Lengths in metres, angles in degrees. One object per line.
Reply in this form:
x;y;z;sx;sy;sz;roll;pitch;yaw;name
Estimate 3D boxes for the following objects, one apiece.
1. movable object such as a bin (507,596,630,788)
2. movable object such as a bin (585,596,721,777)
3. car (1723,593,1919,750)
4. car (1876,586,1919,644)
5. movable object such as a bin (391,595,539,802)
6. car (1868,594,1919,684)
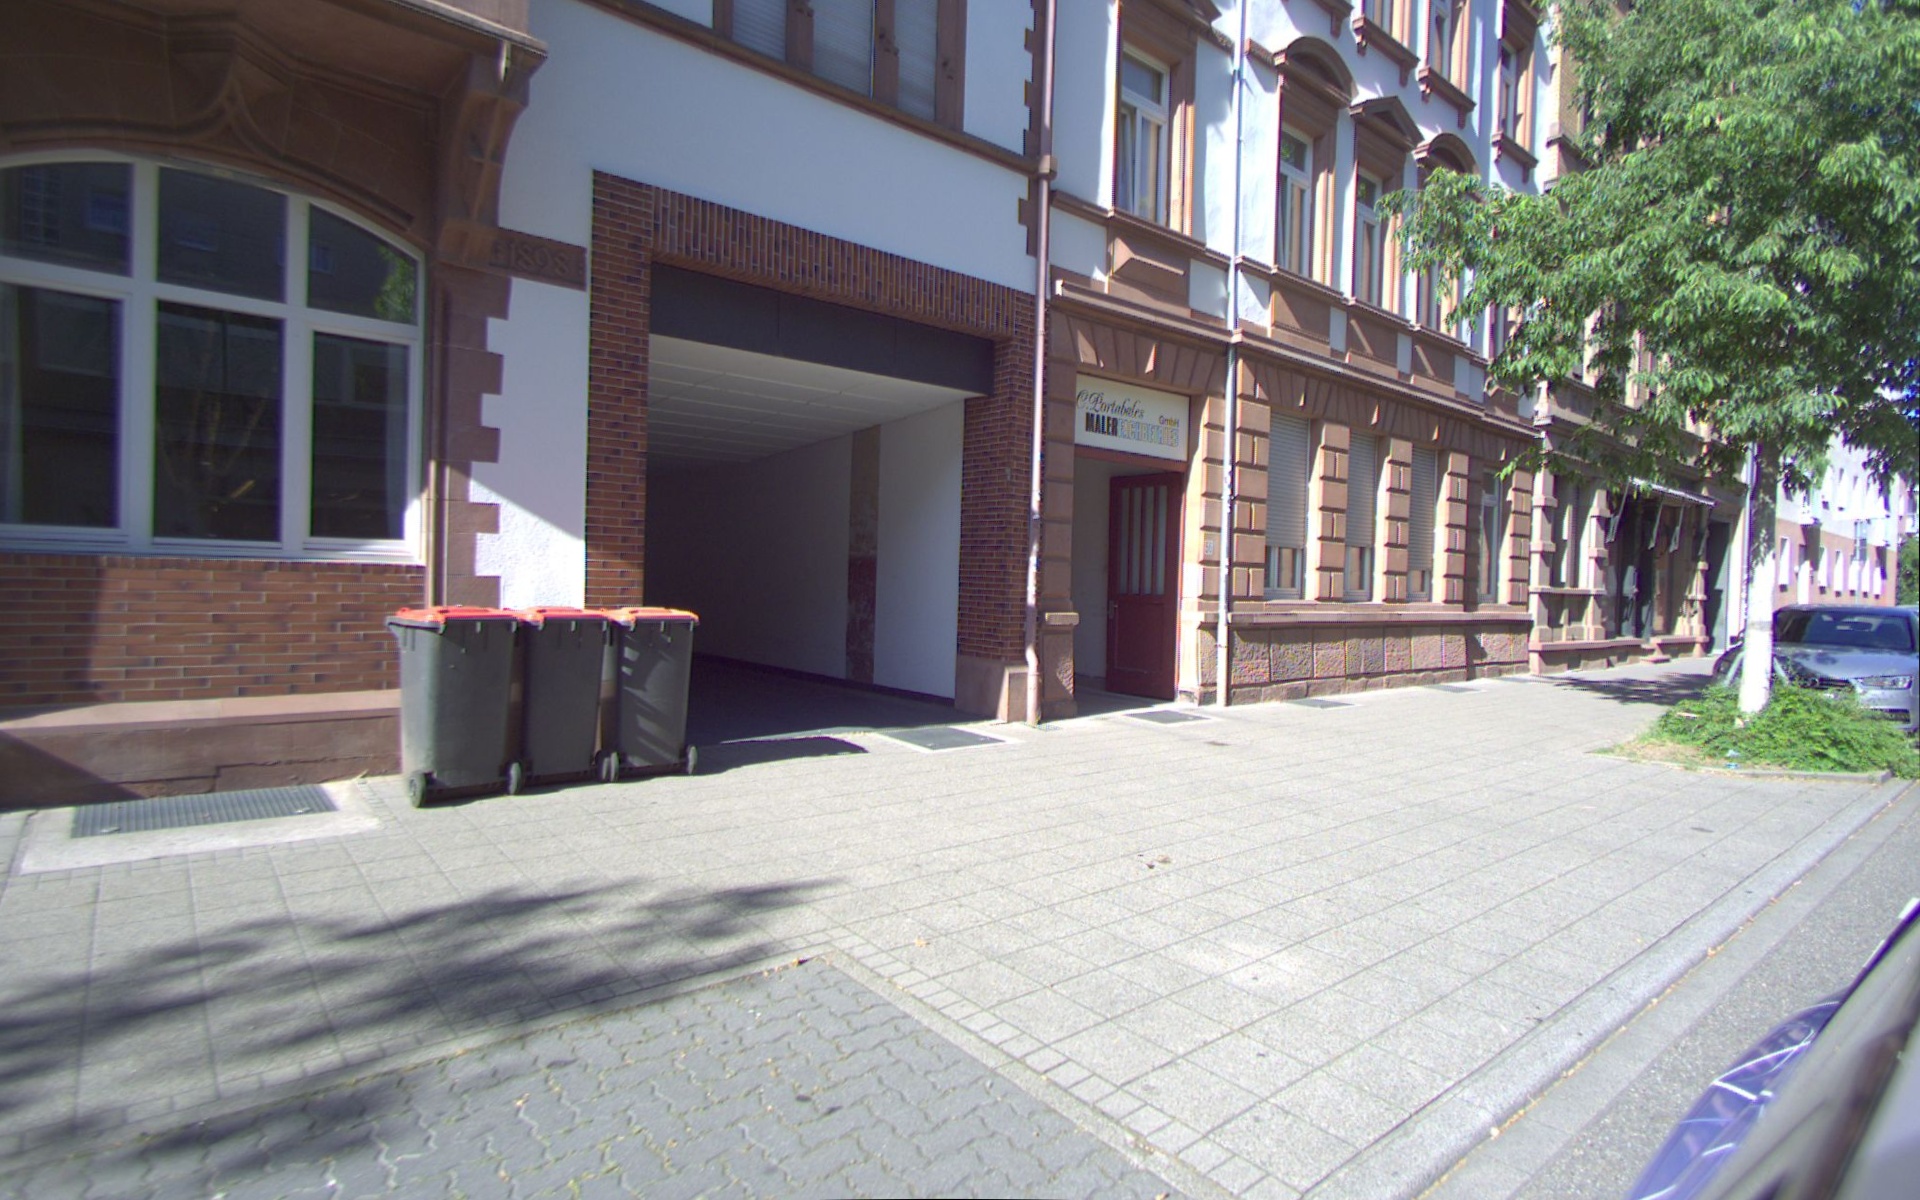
-2.412;0.527;6.214;0.512;1.082;0.639;1;1;-40;movable object such as a bin
-1.999;0.525;6.582;0.628;1.082;0.639;1;1;-40;movable object such as a bin
10.401;0.691;11.635;4.232;1.469;1.742;0;2;-41;car
26.532;0.416;27.666;3.645;1.498;1.713;0;2;-40;car
-2.863;0.526;5.844;0.621;1.082;0.639;1;1;-40;movable object such as a bin
17.433;0.661;17.753;3.930;1.469;1.742;0;2;-41;car
